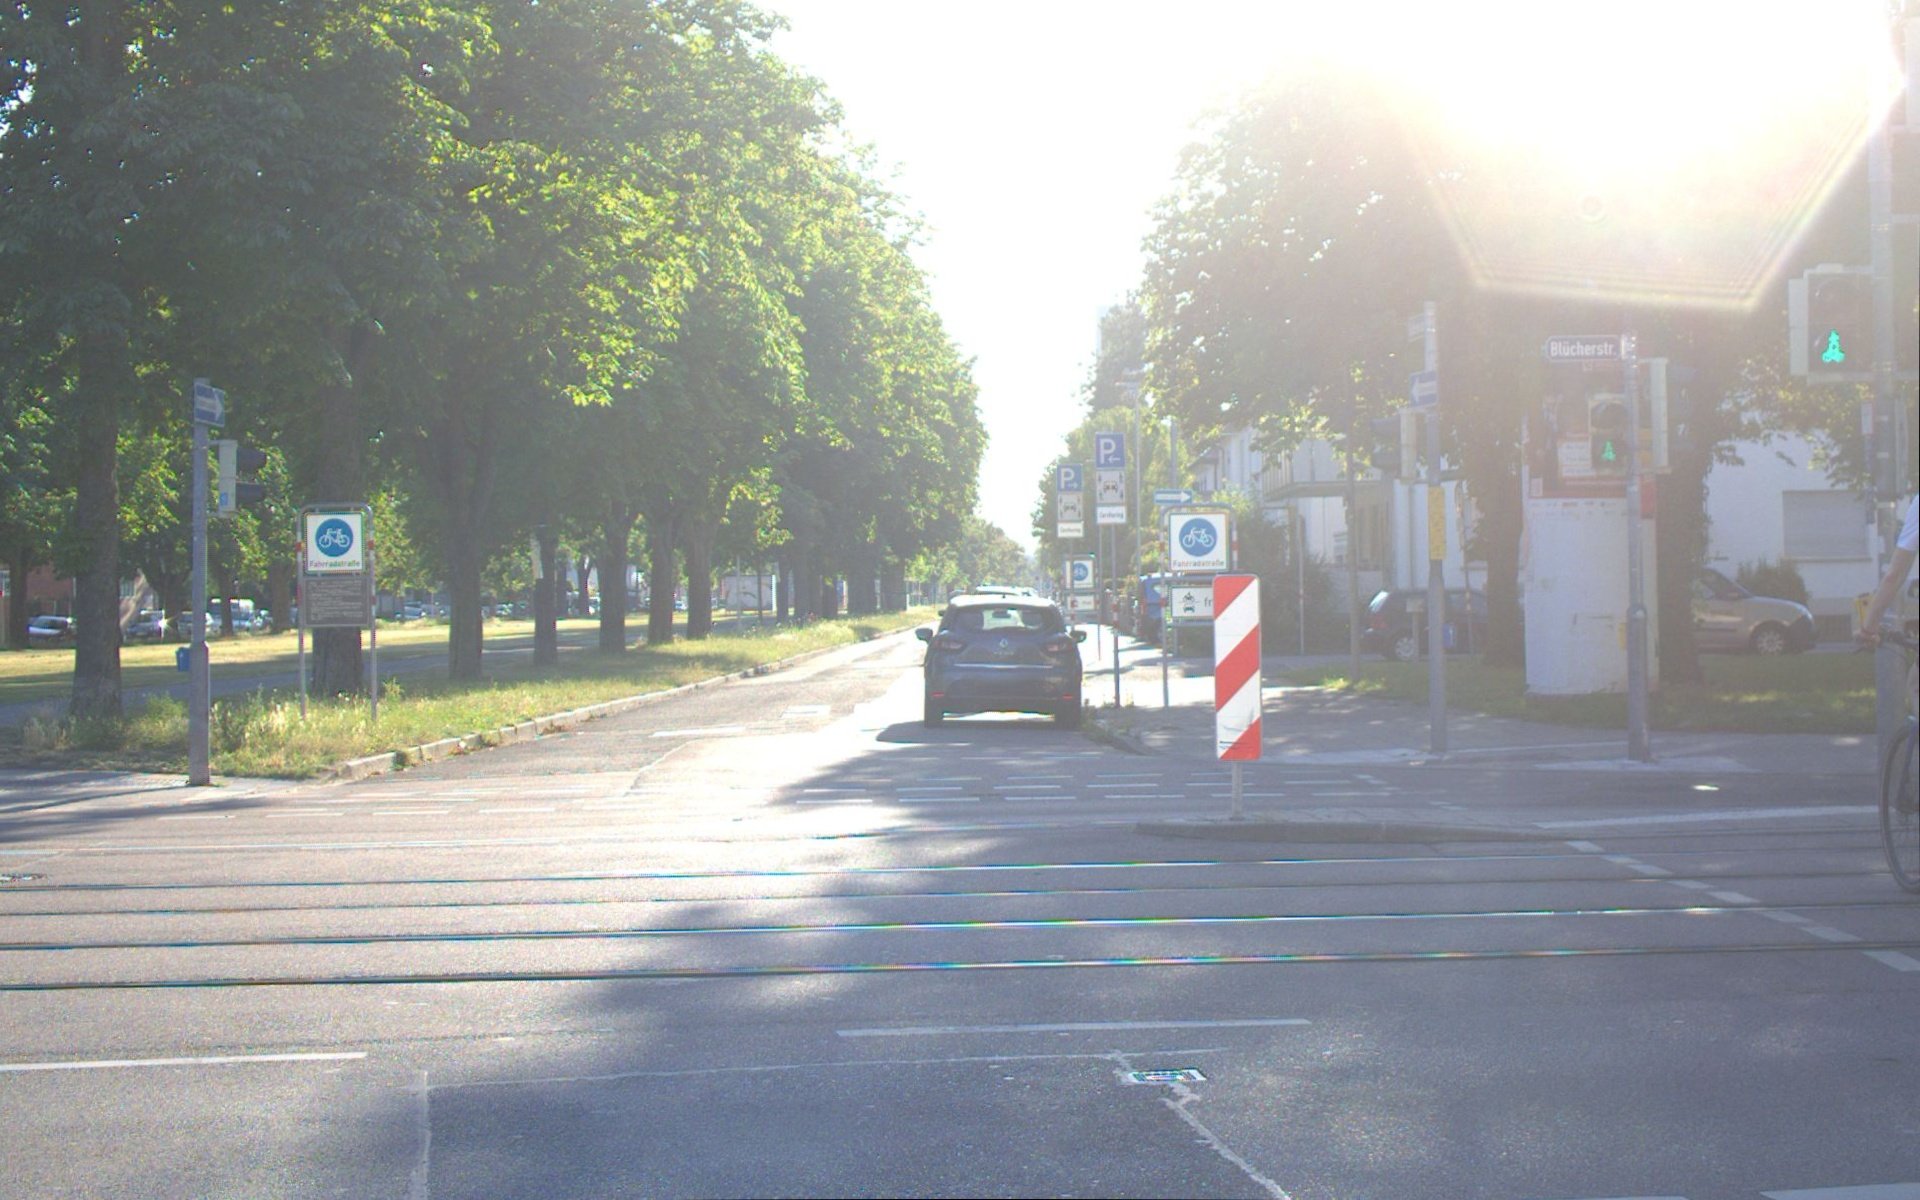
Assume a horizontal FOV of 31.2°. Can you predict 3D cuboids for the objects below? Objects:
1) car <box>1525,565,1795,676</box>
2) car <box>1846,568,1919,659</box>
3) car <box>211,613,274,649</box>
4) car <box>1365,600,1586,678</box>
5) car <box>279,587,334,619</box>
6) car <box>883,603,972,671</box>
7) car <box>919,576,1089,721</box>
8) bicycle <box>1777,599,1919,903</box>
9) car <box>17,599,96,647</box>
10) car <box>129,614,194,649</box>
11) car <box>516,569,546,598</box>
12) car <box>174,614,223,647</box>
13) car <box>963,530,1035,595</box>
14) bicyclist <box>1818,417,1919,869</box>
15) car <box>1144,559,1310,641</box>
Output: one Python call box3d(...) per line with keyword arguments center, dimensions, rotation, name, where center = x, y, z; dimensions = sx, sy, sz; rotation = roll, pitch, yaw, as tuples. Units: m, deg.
box3d(center=(12.012, 0.361, 59.199), dimensions=(4.241, 1.868, 2.030), rotation=(0, -1, 1), name="car")
box3d(center=(17.088, 0.211, 58.512), dimensions=(3.552, 1.511, 1.605), rotation=(-1, -1, -4), name="car")
box3d(center=(-34.248, 1.476, 164.153), dimensions=(2.023, 1.653, 3.983), rotation=(1, -1, 2), name="car")
box3d(center=(9.845, 0.758, 65.877), dimensions=(3.987, 1.442, 1.716), rotation=(0, -1, 1), name="car")
box3d(center=(-34.921, 0.129, 183.857), dimensions=(1.993, 1.653, 4.570), rotation=(-1, 0, 1), name="car")
box3d(center=(-0.664, 0.797, 72.685), dimensions=(1.709, 1.355, 4.202), rotation=(1, -1, 1), name="car")
box3d(center=(0.550, 0.551, 38.856), dimensions=(1.726, 1.506, 4.540), rotation=(1, -1, 3), name="car")
box3d(center=(3.957, 0.592, 13.590), dimensions=(0.572, 1.180, 1.906), rotation=(2, -1, -14), name="bicycle")
box3d(center=(-35.044, 0.904, 133.428), dimensions=(1.811, 1.775, 4.122), rotation=(1, -1, 2), name="car")
box3d(center=(-39.358, 1.557, 169.567), dimensions=(1.994, 1.653, 4.354), rotation=(1, -1, 3), name="car")
box3d(center=(-31.245, -1.174, 250.206), dimensions=(1.654, 1.932, 3.567), rotation=(1, -2, 1), name="car")
box3d(center=(-39.296, 1.592, 177.439), dimensions=(1.639, 1.637, 3.854), rotation=(1, -1, 0), name="car")
box3d(center=(1.104, -1.073, 98.117), dimensions=(1.993, 1.775, 4.000), rotation=(1, 0, 0), name="car")
box3d(center=(3.984, 0.175, 13.534), dimensions=(0.814, 1.726, 0.894), rotation=(2, -1, -15), name="bicyclist")
box3d(center=(6.781, 0.007, 87.569), dimensions=(3.986, 1.816, 1.760), rotation=(-1, -6, -3), name="car")
